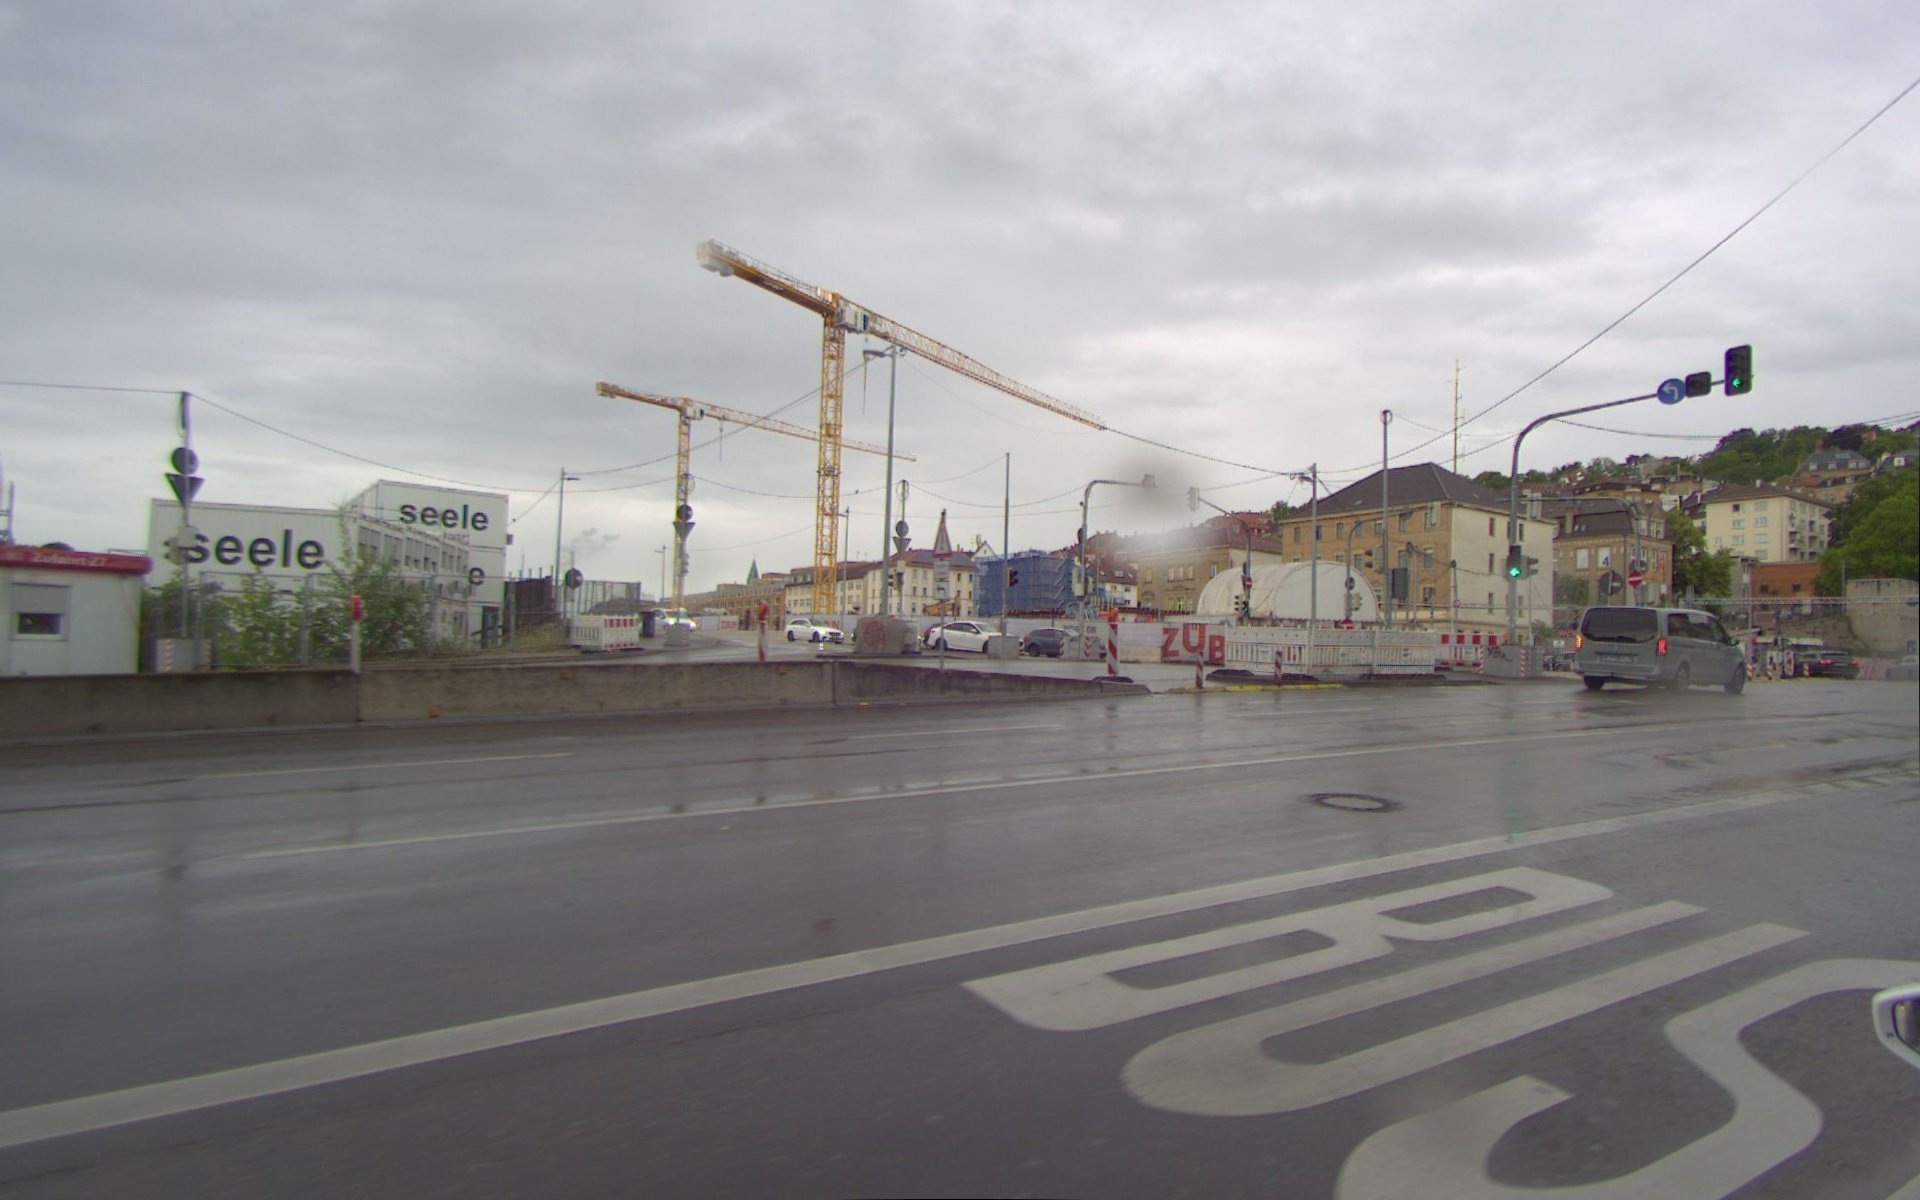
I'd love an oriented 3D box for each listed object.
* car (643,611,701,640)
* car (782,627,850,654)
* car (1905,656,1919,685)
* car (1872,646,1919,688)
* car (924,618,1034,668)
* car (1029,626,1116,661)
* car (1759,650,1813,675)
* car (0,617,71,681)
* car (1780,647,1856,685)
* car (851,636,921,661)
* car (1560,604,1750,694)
[{"bbox_3d":[-18.098,1.606,62.987,1.983,1.795,4.309,1,-2,-38],"label":"car"},{"bbox_3d":[-8.875,2.461,61.799,1.986,1.578,4.468,2,-3,-42],"label":"car"},{"bbox_3d":[70.839,5.110,72.934,3.947,2.040,1.987,1,-1,-26],"label":"car"},{"bbox_3d":[50.471,3.508,52.962,1.960,2.040,4.296,0,-1,18],"label":"car"},{"bbox_3d":[0.793,1.812,43.162,4.351,2.040,1.993,-1,-2,36],"label":"car"},{"bbox_3d":[5.370,2.055,48.184,3.745,1.586,1.852,-1,-2,40],"label":"car"},{"bbox_3d":[55.892,4.196,68.026,1.747,1.483,3.998,0,-1,23],"label":"car"},{"bbox_3d":[-30.627,1.532,31.524,3.969,1.965,1.977,3,-4,-41],"label":"car"},{"bbox_3d":[45.230,3.439,53.046,1.747,1.773,4.000,0,-1,20],"label":"car"},{"bbox_3d":[-4.194,2.714,56.429,1.639,1.194,4.235,2,0,-42],"label":"car"},{"bbox_3d":[15.917,1.099,22.934,4.634,1.863,1.982,2,-2,-33],"label":"car"}]
